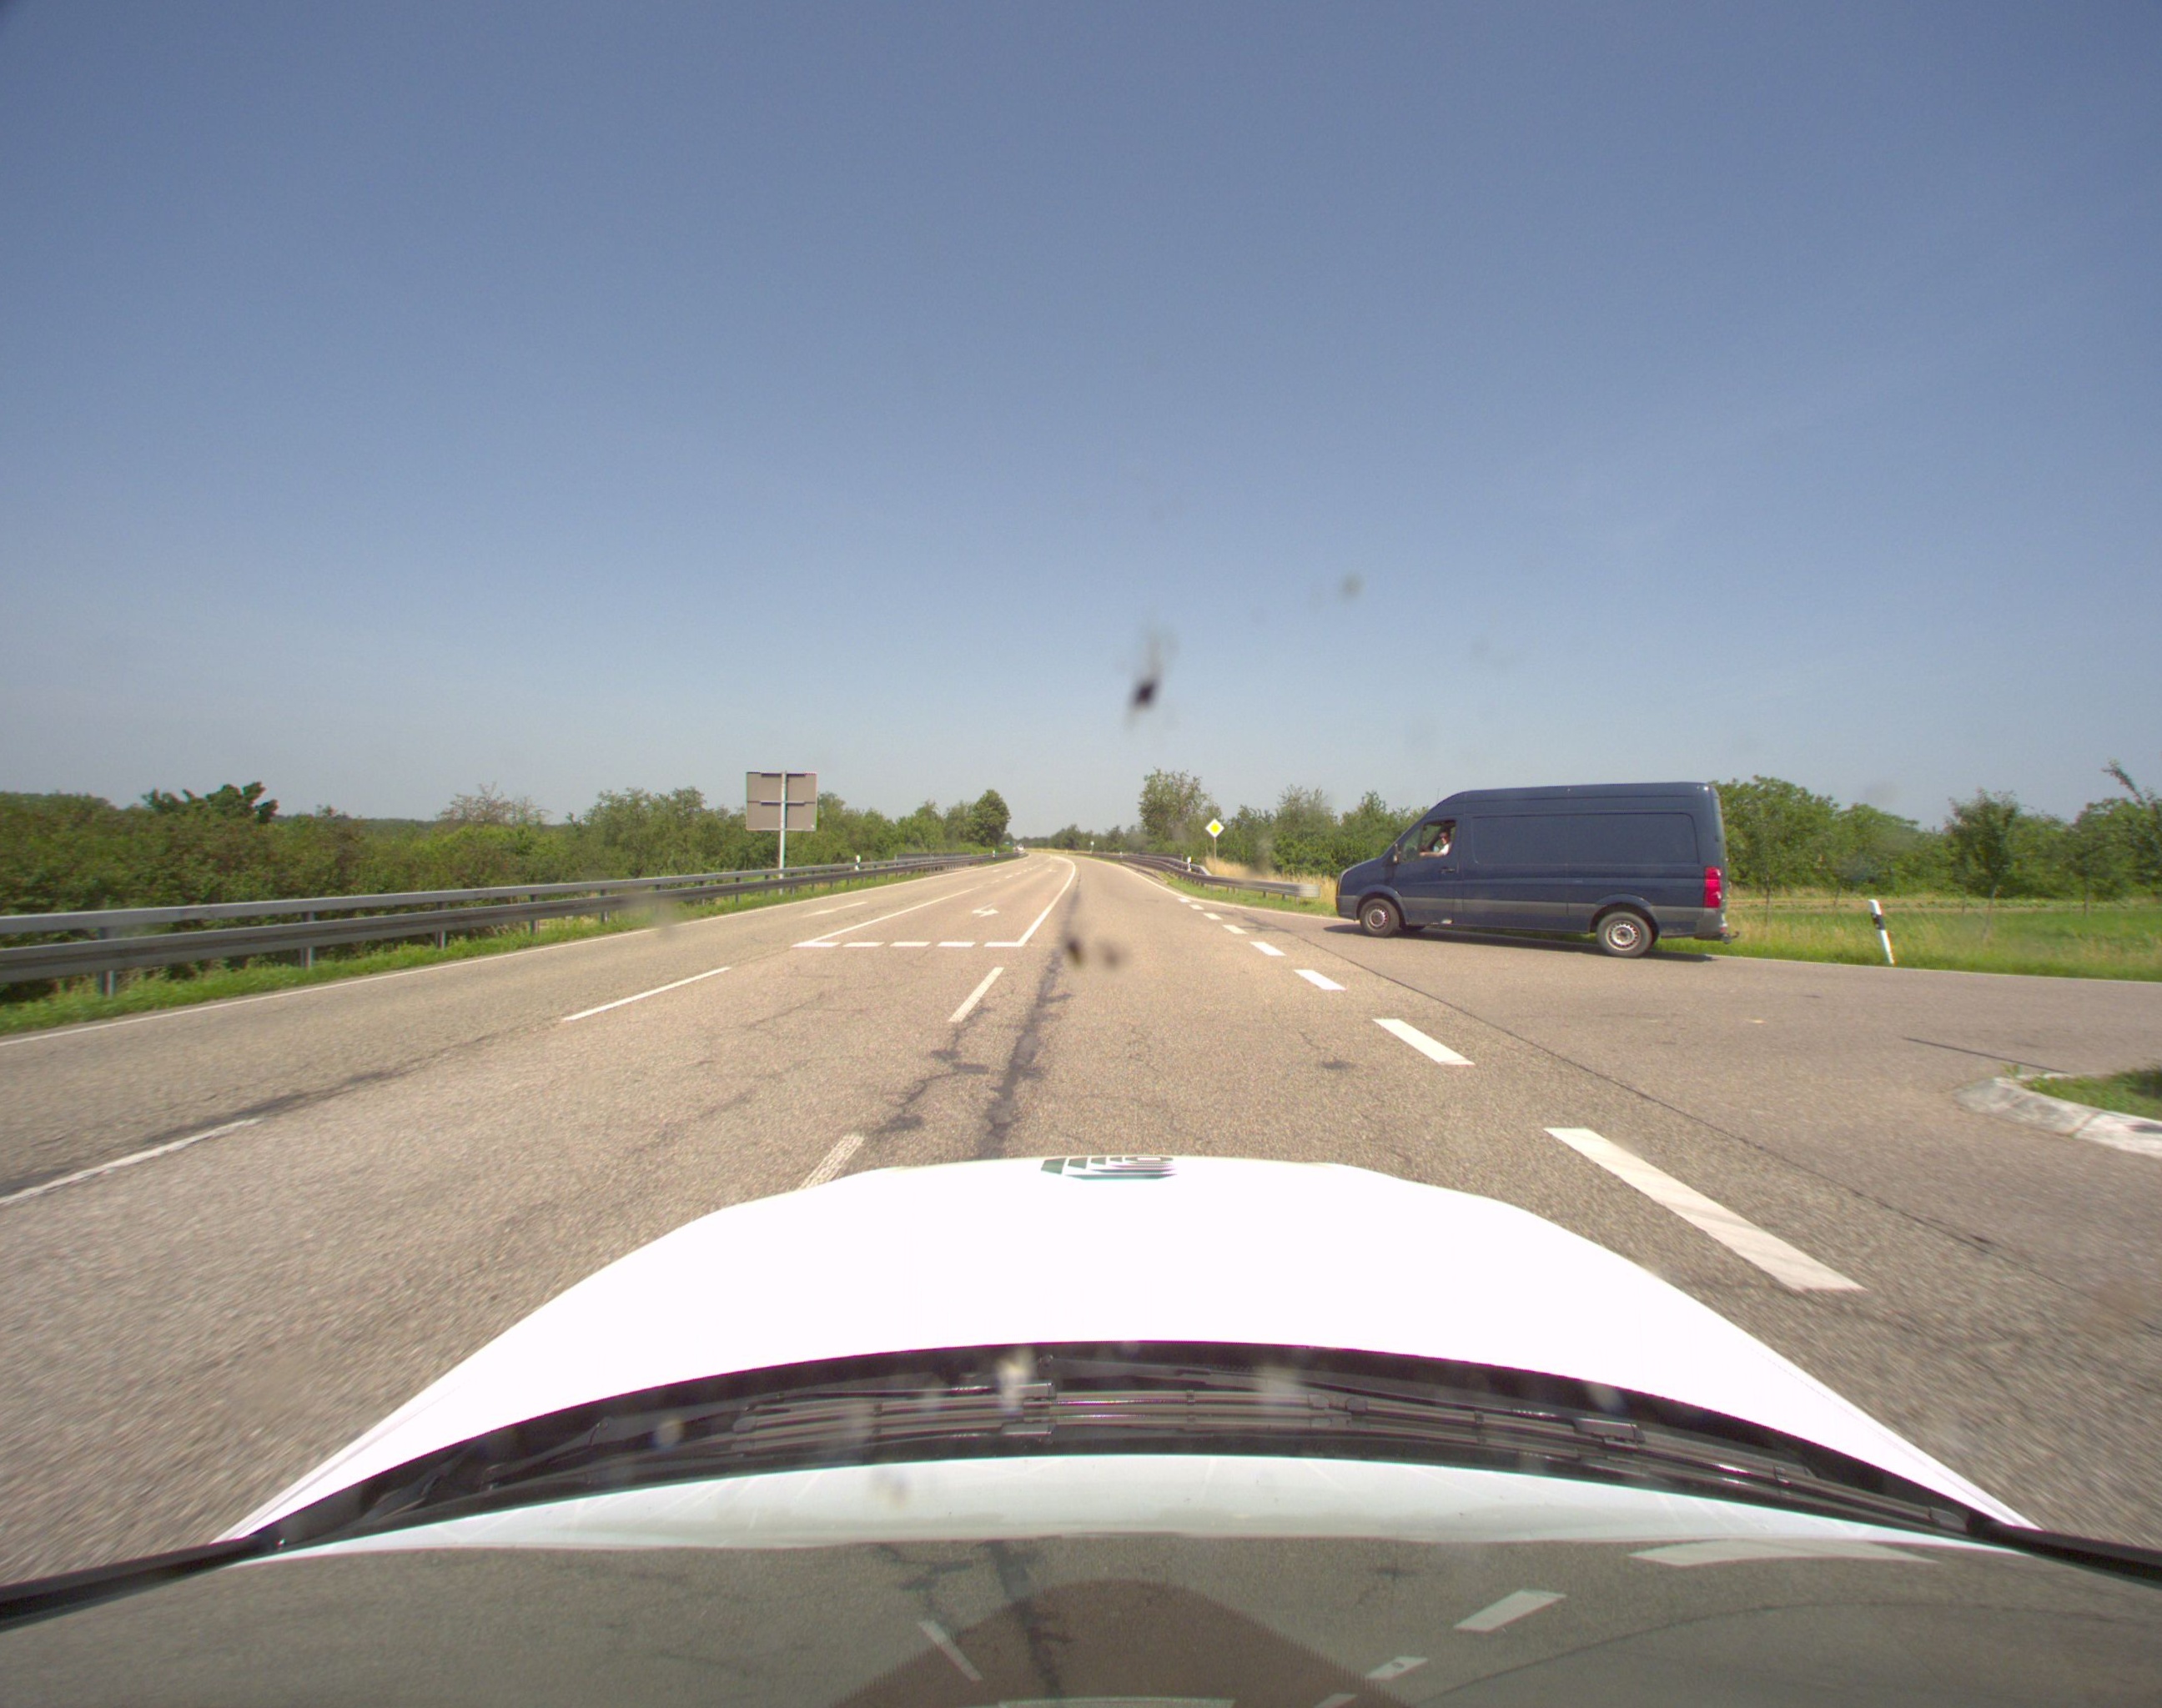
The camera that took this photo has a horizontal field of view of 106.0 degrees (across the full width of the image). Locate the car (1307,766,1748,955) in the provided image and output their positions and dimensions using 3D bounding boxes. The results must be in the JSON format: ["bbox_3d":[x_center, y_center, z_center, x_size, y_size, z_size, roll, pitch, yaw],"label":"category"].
[{"bbox_3d":[7.264,0.034,13.837,6.232,2.574,2.075,1,1,38],"label":"car"}]
